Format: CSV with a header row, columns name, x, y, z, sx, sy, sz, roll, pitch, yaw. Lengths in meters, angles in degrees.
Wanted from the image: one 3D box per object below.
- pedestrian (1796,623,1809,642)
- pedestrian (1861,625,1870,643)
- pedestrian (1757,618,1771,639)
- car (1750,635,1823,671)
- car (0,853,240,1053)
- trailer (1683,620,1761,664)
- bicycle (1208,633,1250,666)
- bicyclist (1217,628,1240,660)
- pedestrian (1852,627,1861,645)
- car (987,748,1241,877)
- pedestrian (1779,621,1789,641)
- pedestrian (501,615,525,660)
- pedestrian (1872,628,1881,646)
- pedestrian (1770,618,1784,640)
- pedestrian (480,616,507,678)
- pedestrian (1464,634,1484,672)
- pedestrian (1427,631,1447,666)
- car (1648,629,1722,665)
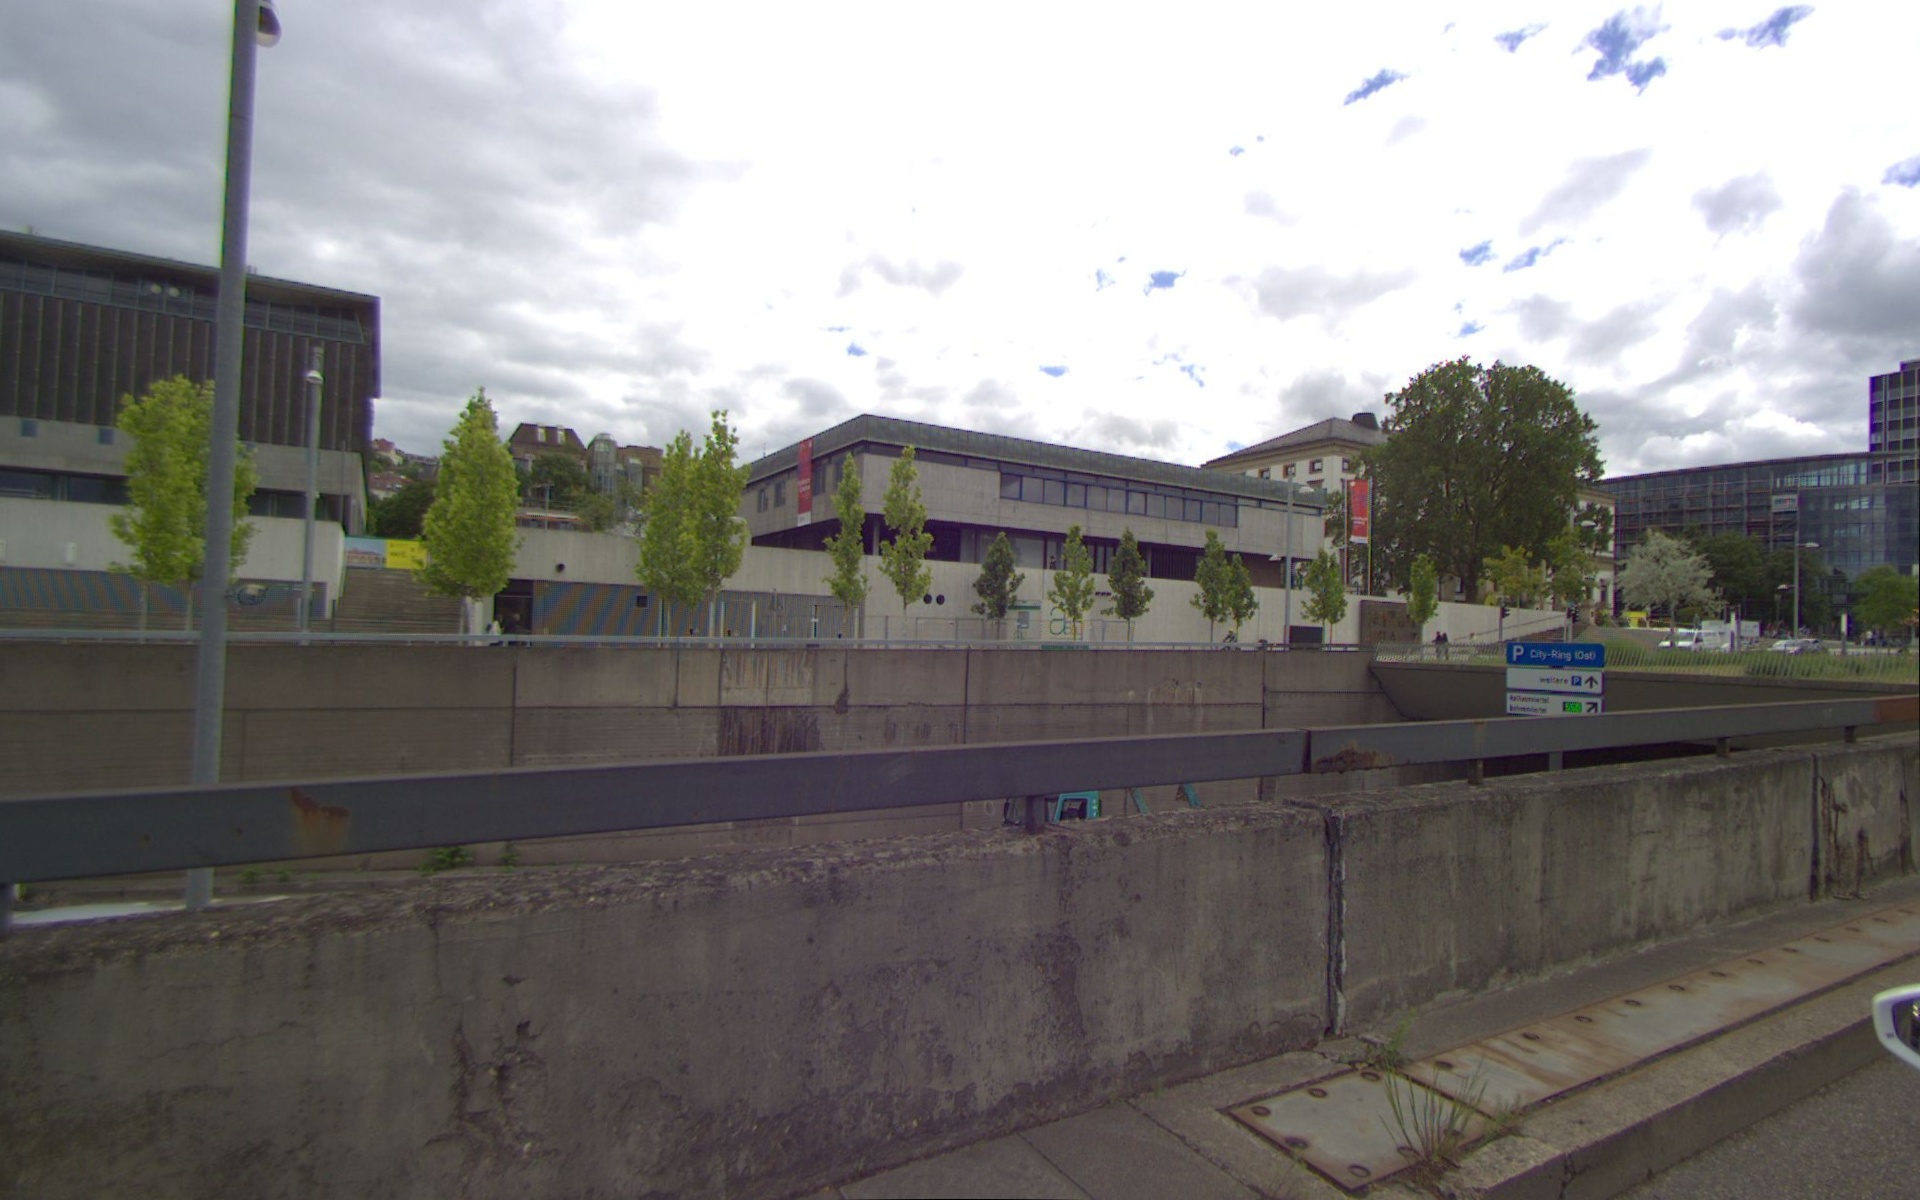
name,x,y,z,sx,sy,sz,roll,pitch,yaw
pedestrian,88.775,3.428,105.800,0.730,2.040,0.788,0,-1,-23
pedestrian,103.908,3.893,115.284,0.731,2.040,0.788,-1,-1,45
pedestrian,76.303,2.700,95.336,0.783,2.040,0.735,0,-1,-29
car,51.405,3.240,62.438,4.635,2.040,1.985,0,0,-30
car,-11.760,4.279,12.070,4.782,1.591,2.170,3,0,-30
trailer,48.939,2.645,64.500,5.443,2.640,2.027,1,1,-30
bicycle,13.686,2.524,51.100,2.165,1.556,0.722,3,0,-31
bicyclist,13.656,2.239,51.062,0.767,1.574,0.727,3,0,-31
pedestrian,101.587,4.077,113.846,0.729,2.040,0.790,-1,-1,38
car,3.881,5.128,25.074,5.866,2.341,2.607,3,0,-30
pedestrian,85.645,3.252,104.393,0.729,2.040,0.917,-1,-1,37
pedestrian,-16.753,1.384,37.620,0.783,1.664,0.736,0,-1,-27
pedestrian,104.603,4.213,114.685,0.730,2.040,0.789,-1,-1,42
pedestrian,75.930,2.723,93.395,0.782,2.040,0.736,3,-2,-25
pedestrian,-15.728,1.577,33.872,0.781,2.040,0.737,0,-1,-21
pedestrian,27.927,2.866,54.600,0.845,2.040,0.629,0,-1,15
pedestrian,27.962,2.838,58.867,0.777,2.040,0.740,0,0,-3
car,44.639,2.882,61.832,4.635,2.040,1.985,0,0,-30
